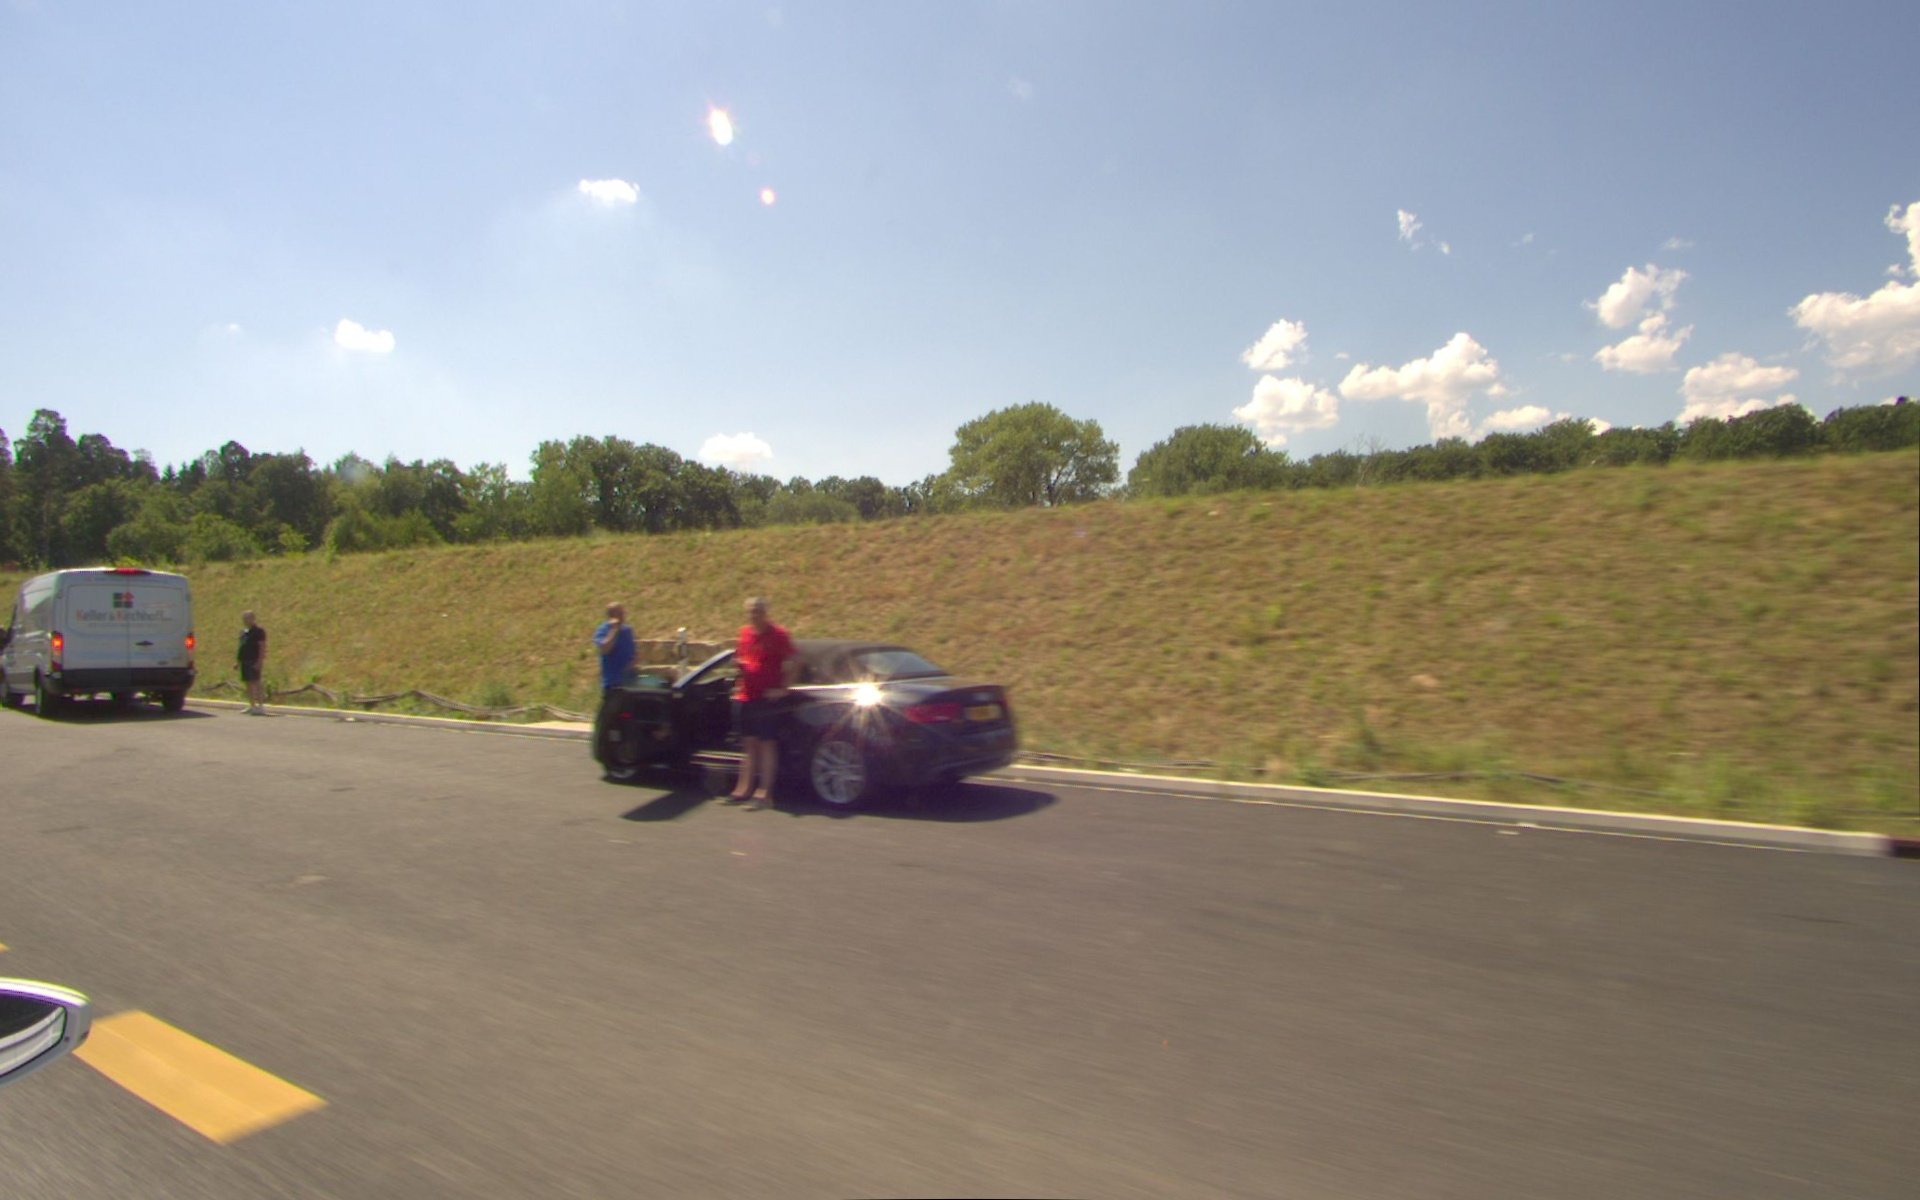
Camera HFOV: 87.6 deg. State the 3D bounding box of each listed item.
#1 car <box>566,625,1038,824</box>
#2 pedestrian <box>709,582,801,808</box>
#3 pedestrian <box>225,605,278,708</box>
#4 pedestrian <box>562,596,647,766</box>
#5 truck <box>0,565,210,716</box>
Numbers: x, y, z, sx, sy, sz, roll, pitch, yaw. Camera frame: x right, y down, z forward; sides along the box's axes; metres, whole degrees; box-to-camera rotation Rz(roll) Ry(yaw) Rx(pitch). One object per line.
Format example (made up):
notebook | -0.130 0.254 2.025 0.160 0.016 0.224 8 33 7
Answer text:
car | -1.626 1.004 9.560 4.480 1.446 1.650 -1 1 33
pedestrian | -1.741 0.787 8.561 0.548 1.851 0.642 0 -1 11
pedestrian | -12.785 1.021 18.077 0.657 1.818 0.563 -1 -2 31
pedestrian | -4.030 0.898 11.365 0.631 1.851 0.625 0 -1 20
truck | -16.538 0.744 19.185 5.854 2.488 2.121 -1 -2 39
